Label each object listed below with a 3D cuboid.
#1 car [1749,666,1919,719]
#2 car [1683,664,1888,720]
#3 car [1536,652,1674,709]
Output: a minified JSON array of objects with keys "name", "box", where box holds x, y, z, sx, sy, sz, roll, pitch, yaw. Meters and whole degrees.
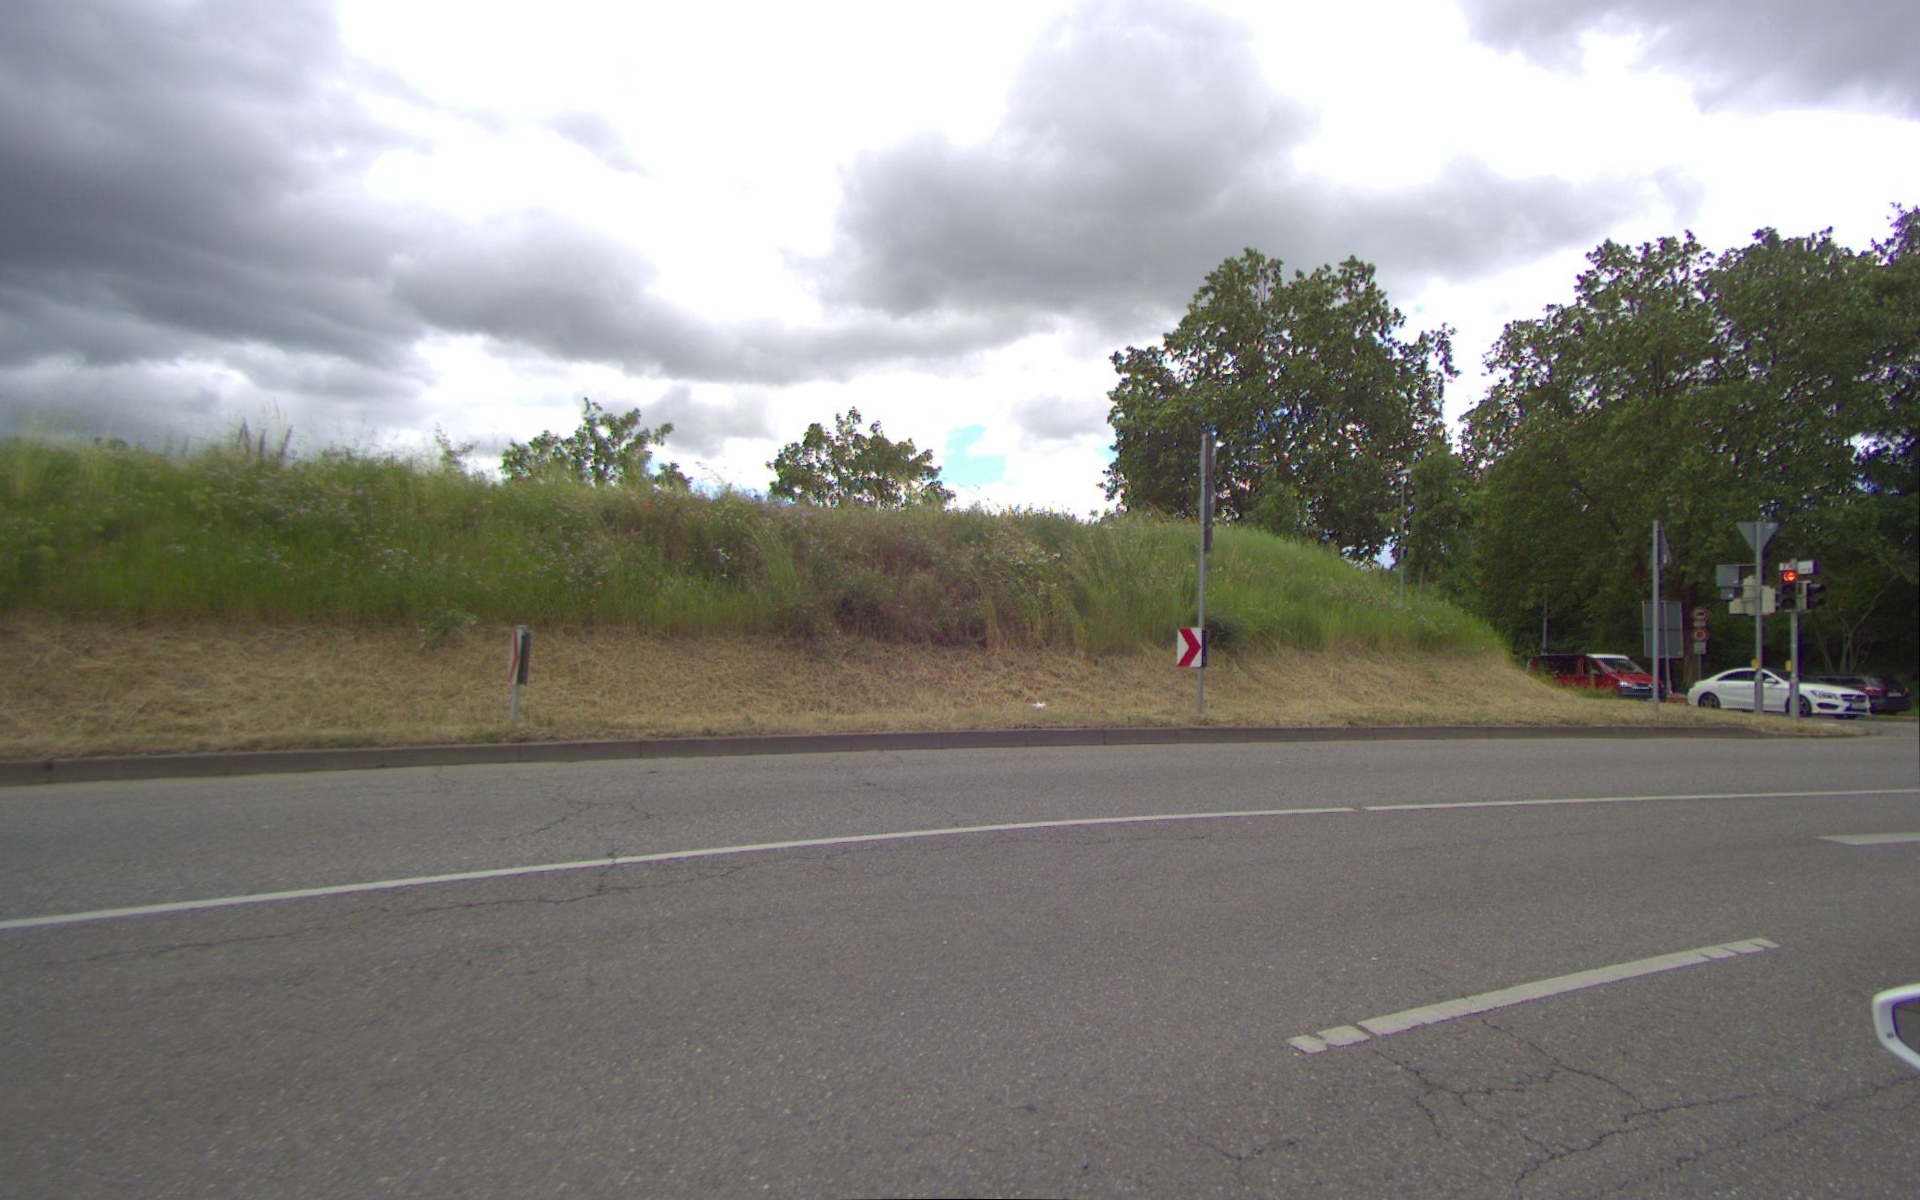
[{"name":"car","box":[29.647,3.096,34.219,1.825,1.470,4.025,4,-2,-16]},{"name":"car","box":[23.931,2.629,29.363,1.965,1.356,4.412,4,-4,-11]},{"name":"car","box":[22.723,2.822,35.568,1.822,1.836,4.032,2,-4,-11]}]
